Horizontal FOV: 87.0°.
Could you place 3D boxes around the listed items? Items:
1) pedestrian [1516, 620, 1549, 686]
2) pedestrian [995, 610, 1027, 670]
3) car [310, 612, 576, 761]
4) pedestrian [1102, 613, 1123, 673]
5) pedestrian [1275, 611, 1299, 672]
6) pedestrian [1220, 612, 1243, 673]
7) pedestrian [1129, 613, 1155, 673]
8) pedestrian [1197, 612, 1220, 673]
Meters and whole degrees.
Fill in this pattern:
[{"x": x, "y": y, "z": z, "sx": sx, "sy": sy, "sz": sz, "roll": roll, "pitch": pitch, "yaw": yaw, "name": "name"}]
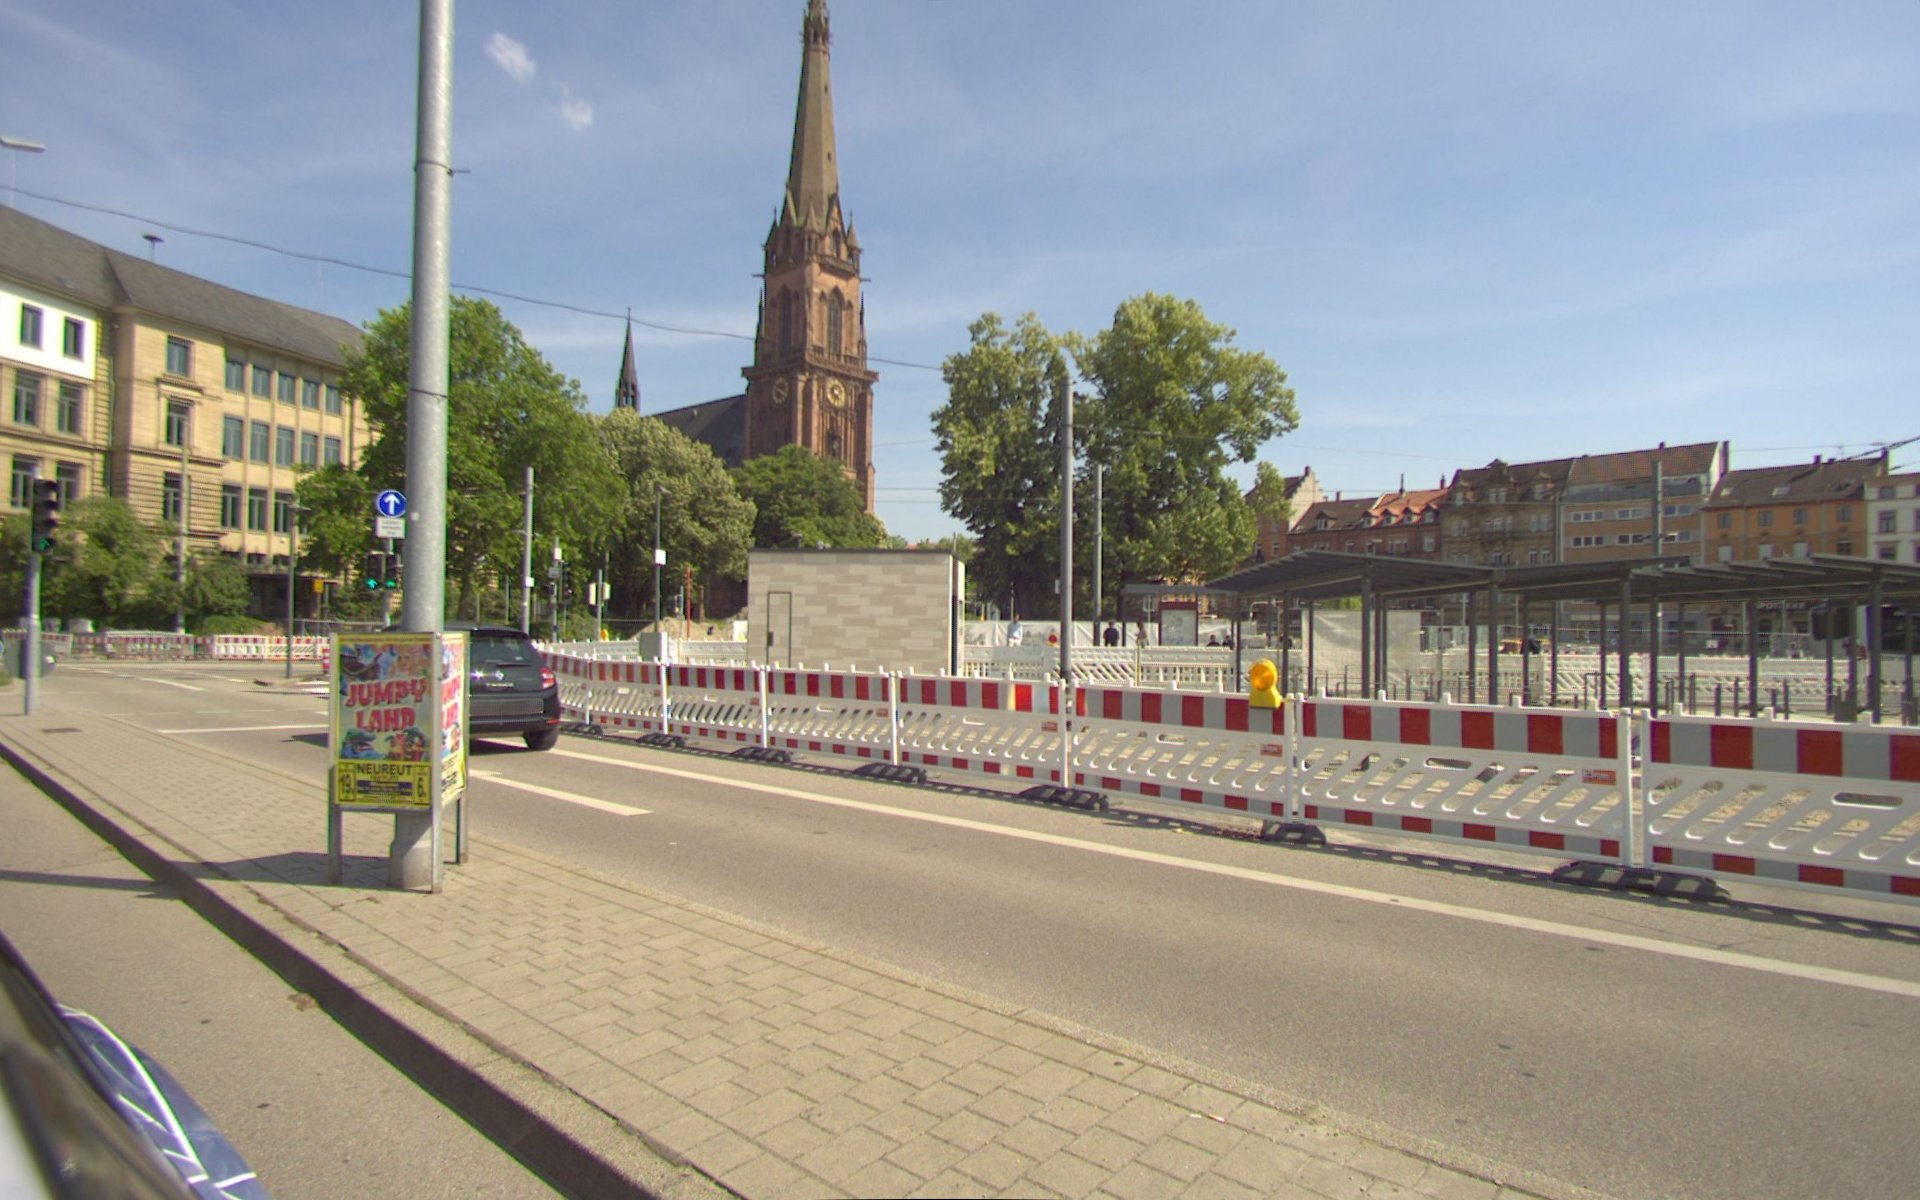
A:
[{"x": 17.967, "y": 1.666, "z": 31.777, "sx": 0.680, "sy": 2.029, "sz": 0.816, "roll": 0, "pitch": -2, "yaw": 16, "name": "pedestrian"}, {"x": 1.738, "y": 1.356, "z": 34.406, "sx": 0.686, "sy": 2.029, "sz": 0.809, "roll": -1, "pitch": -3, "yaw": 43, "name": "pedestrian"}, {"x": -6.483, "y": 0.980, "z": 12.560, "sx": 3.630, "sy": 1.586, "sz": 1.644, "roll": -1, "pitch": -3, "yaw": 41, "name": "car"}, {"x": 5.250, "y": 1.473, "z": 34.850, "sx": 0.678, "sy": 2.029, "sz": 0.819, "roll": 0, "pitch": -2, "yaw": 7, "name": "pedestrian"}, {"x": 11.116, "y": 1.403, "z": 34.441, "sx": 0.679, "sy": 2.029, "sz": 0.818, "roll": 0, "pitch": -2, "yaw": 11, "name": "pedestrian"}, {"x": 9.083, "y": 1.419, "z": 33.897, "sx": 0.679, "sy": 2.029, "sz": 0.818, "roll": 0, "pitch": -2, "yaw": 11, "name": "pedestrian"}, {"x": 6.219, "y": 1.458, "z": 34.583, "sx": 0.810, "sy": 2.029, "sz": 0.685, "roll": 1, "pitch": -2, "yaw": 6, "name": "pedestrian"}, {"x": 8.353, "y": 1.419, "z": 34.047, "sx": 0.679, "sy": 2.029, "sz": 0.818, "roll": 0, "pitch": -2, "yaw": 11, "name": "pedestrian"}]
